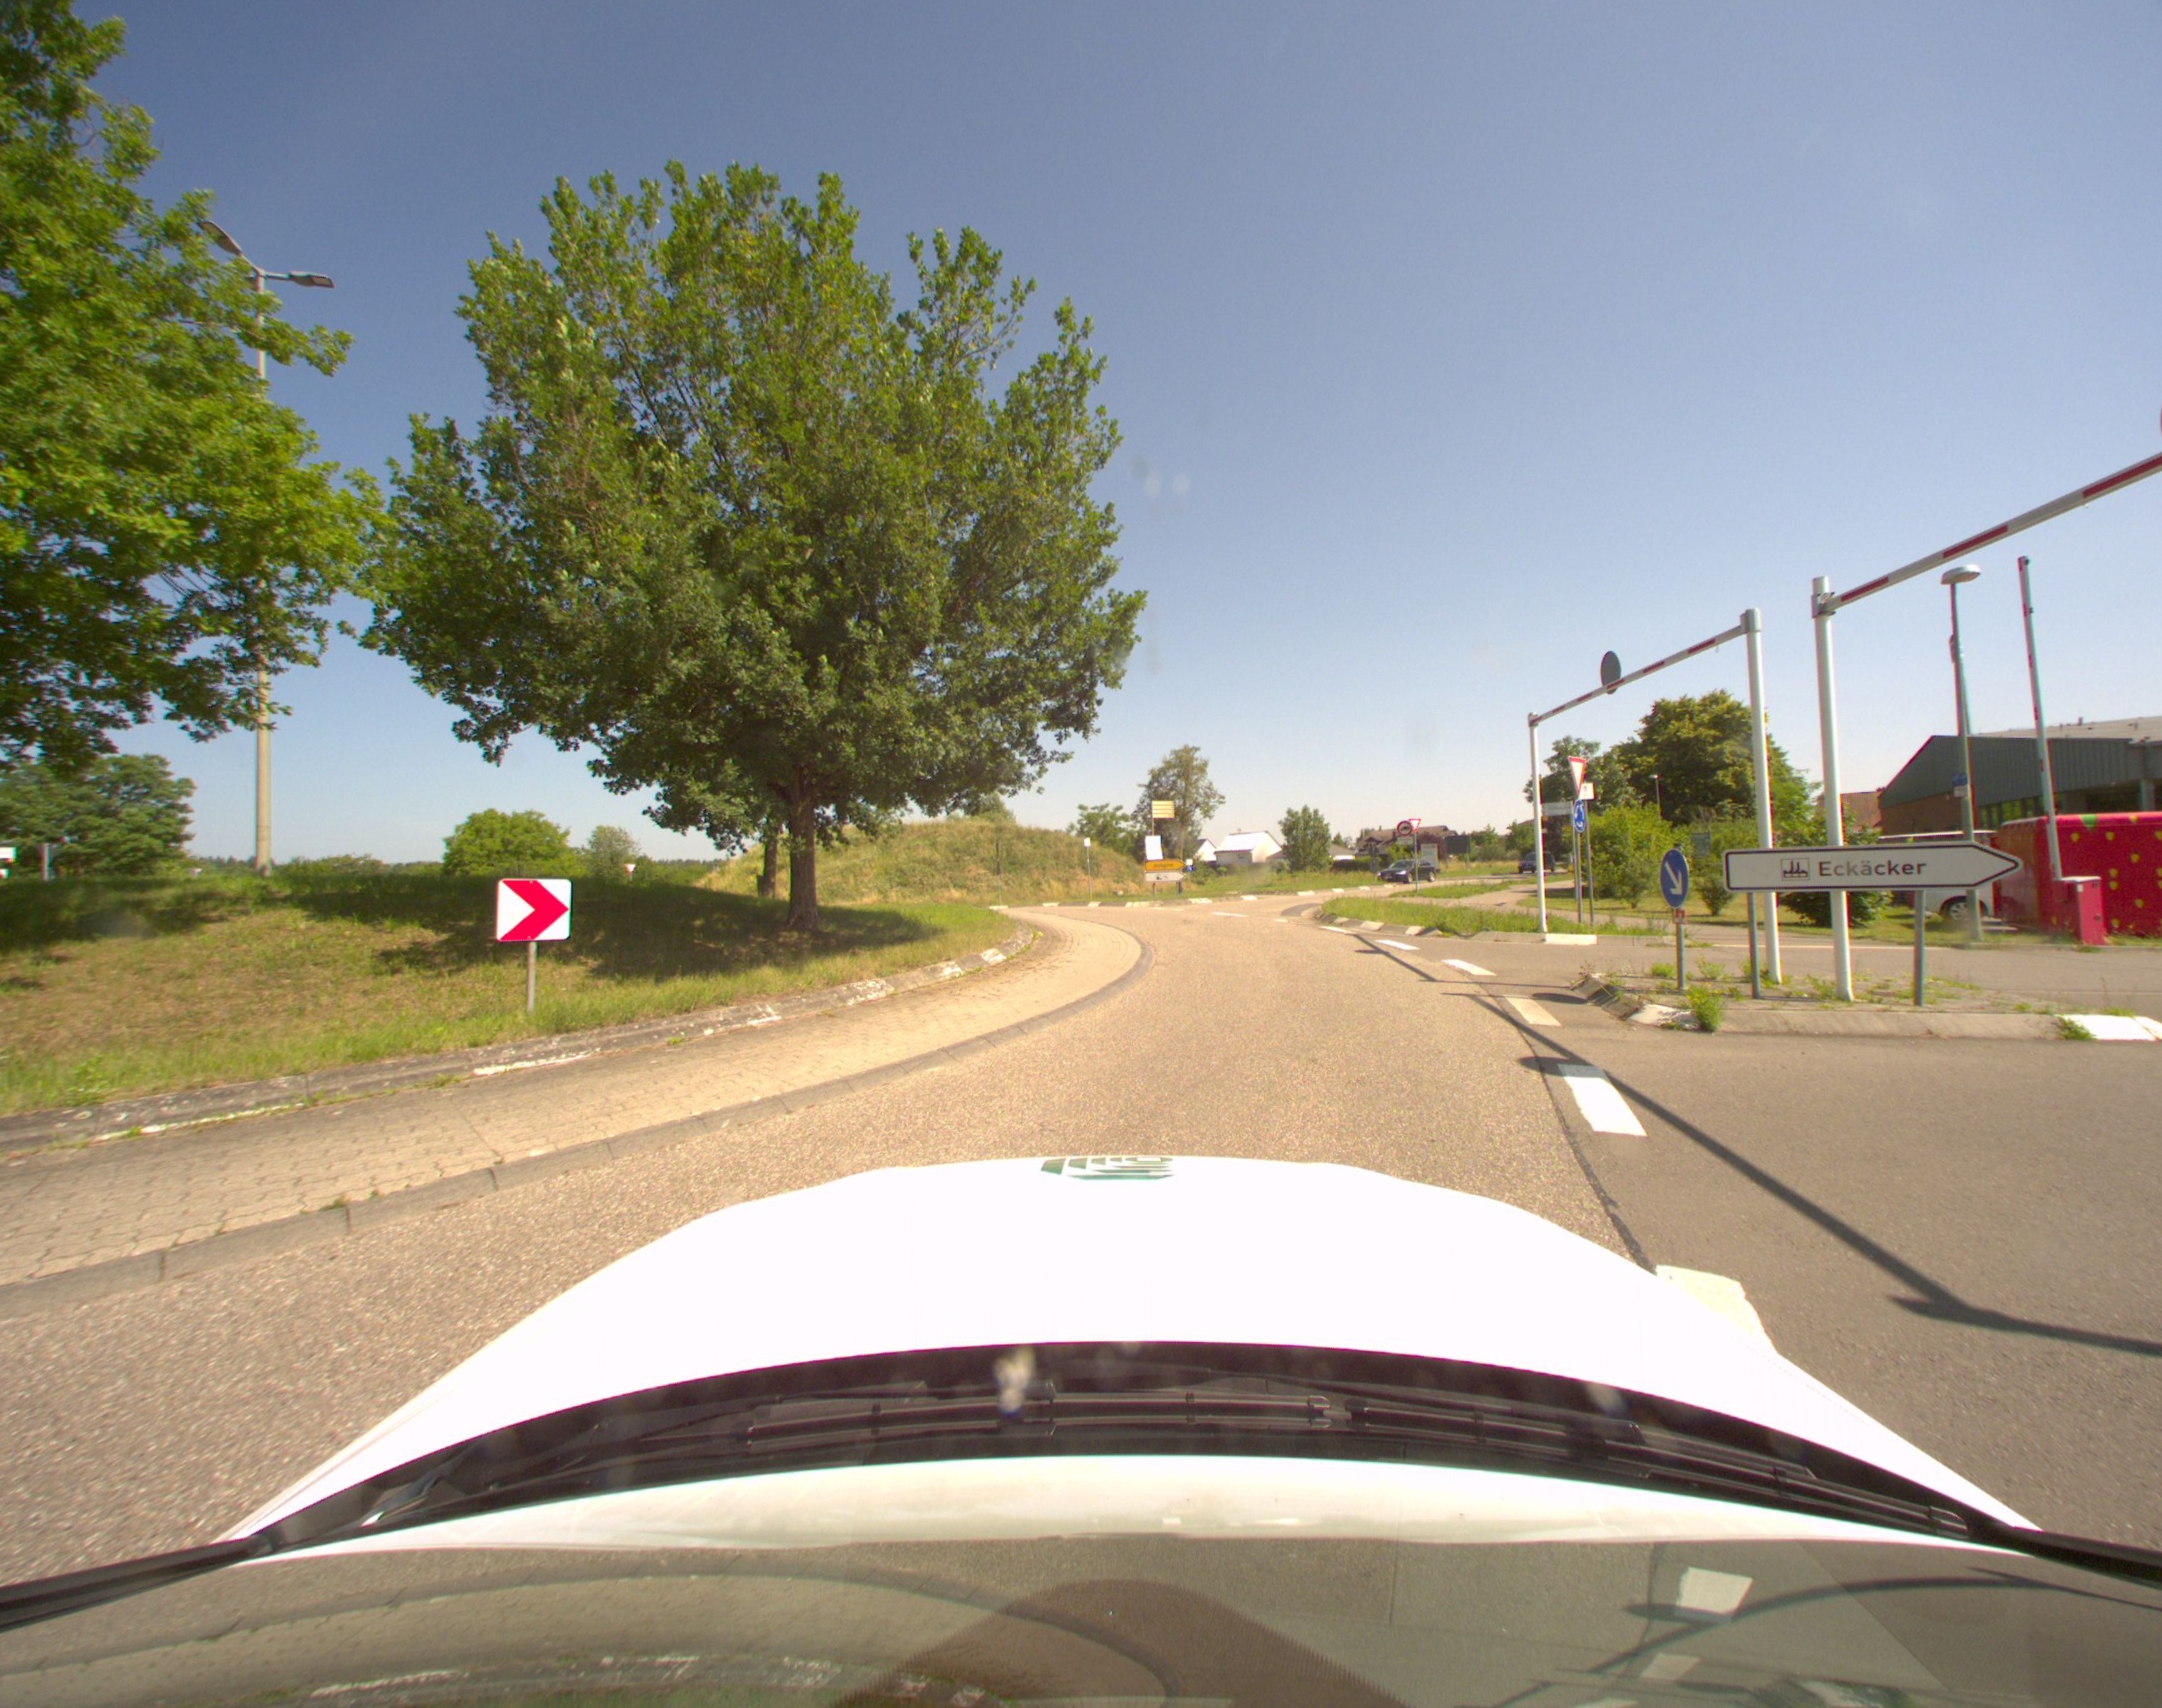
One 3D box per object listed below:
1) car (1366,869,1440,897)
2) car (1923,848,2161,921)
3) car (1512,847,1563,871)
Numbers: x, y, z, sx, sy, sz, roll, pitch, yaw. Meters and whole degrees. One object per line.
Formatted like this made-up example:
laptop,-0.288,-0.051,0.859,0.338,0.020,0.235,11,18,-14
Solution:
car,19.292,1.709,48.634,4.938,1.434,1.900,-1,-5,-40
car,21.261,0.642,17.873,3.723,1.446,1.736,-1,0,42
car,36.130,0.372,64.420,4.679,1.641,1.794,-1,-6,-39
